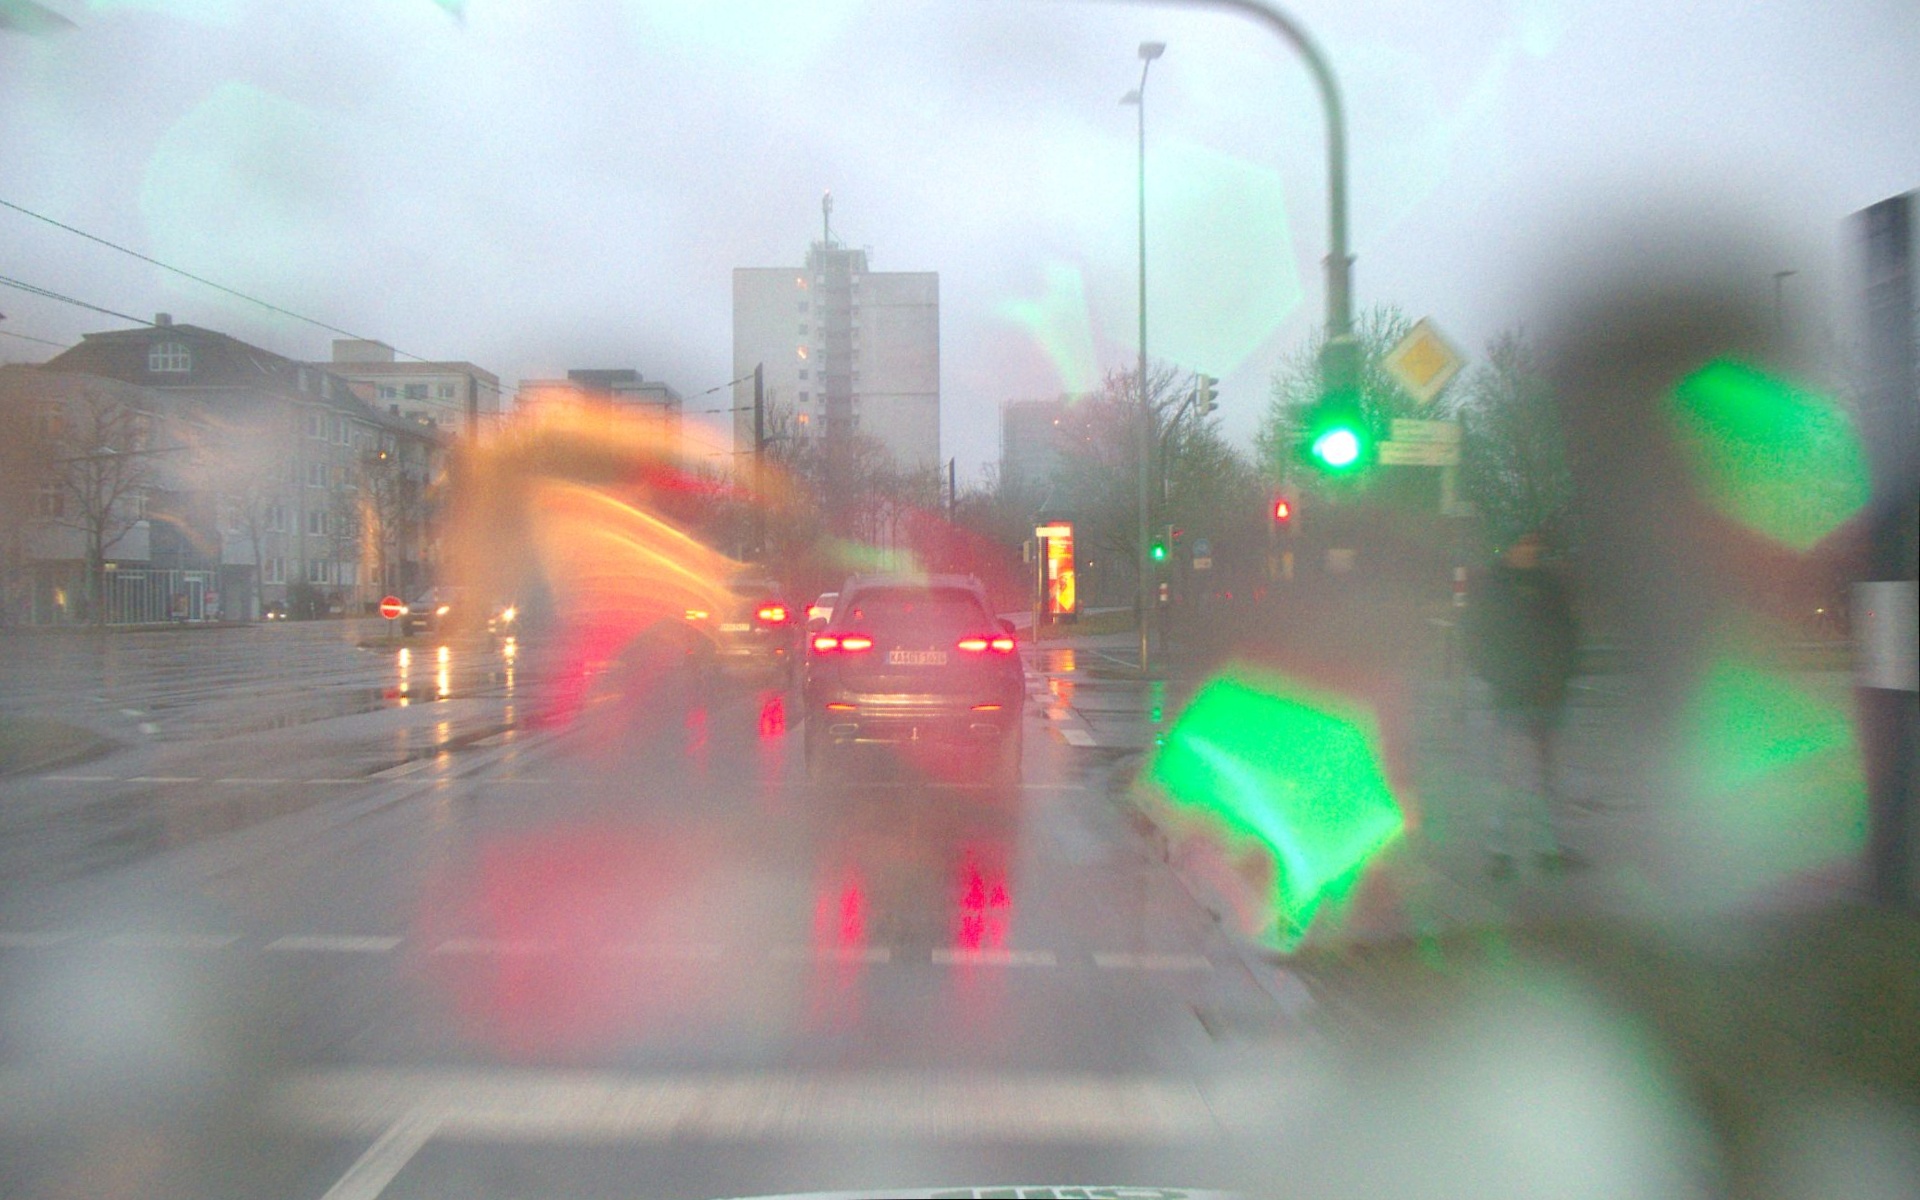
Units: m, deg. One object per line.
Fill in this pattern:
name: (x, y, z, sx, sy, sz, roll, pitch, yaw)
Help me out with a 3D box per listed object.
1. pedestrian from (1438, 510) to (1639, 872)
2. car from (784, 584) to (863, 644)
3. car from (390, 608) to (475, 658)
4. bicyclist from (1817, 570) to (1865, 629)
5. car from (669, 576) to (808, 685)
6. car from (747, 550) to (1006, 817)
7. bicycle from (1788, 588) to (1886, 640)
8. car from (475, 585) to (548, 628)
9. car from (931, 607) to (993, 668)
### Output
pedestrian: (3.047, 0.457, 8.671, 0.780, 1.780, 0.861, -4, 0, 26)
car: (-4.000, 0.432, 49.072, 1.952, 1.671, 4.022, 1, -1, 1)
car: (-18.154, 1.131, 57.088, 1.768, 1.635, 3.998, 1, -1, -2)
bicyclist: (22.202, -0.008, 41.698, 0.735, 1.455, 0.927, 1, -1, 1)
car: (-3.805, 0.525, 29.071, 1.953, 1.742, 4.323, 1, -1, -2)
car: (-0.585, 0.666, 14.724, 1.952, 2.010, 4.069, 1, -1, 2)
bicycle: (22.125, 0.351, 41.739, 1.924, 1.237, 1.039, -1, 1, -5)
car: (-17.180, 0.277, 63.523, 1.555, 1.556, 4.932, 1, -1, -2)
car: (0.096, 1.251, 55.871, 1.817, 1.925, 4.001, 1, -1, 4)
